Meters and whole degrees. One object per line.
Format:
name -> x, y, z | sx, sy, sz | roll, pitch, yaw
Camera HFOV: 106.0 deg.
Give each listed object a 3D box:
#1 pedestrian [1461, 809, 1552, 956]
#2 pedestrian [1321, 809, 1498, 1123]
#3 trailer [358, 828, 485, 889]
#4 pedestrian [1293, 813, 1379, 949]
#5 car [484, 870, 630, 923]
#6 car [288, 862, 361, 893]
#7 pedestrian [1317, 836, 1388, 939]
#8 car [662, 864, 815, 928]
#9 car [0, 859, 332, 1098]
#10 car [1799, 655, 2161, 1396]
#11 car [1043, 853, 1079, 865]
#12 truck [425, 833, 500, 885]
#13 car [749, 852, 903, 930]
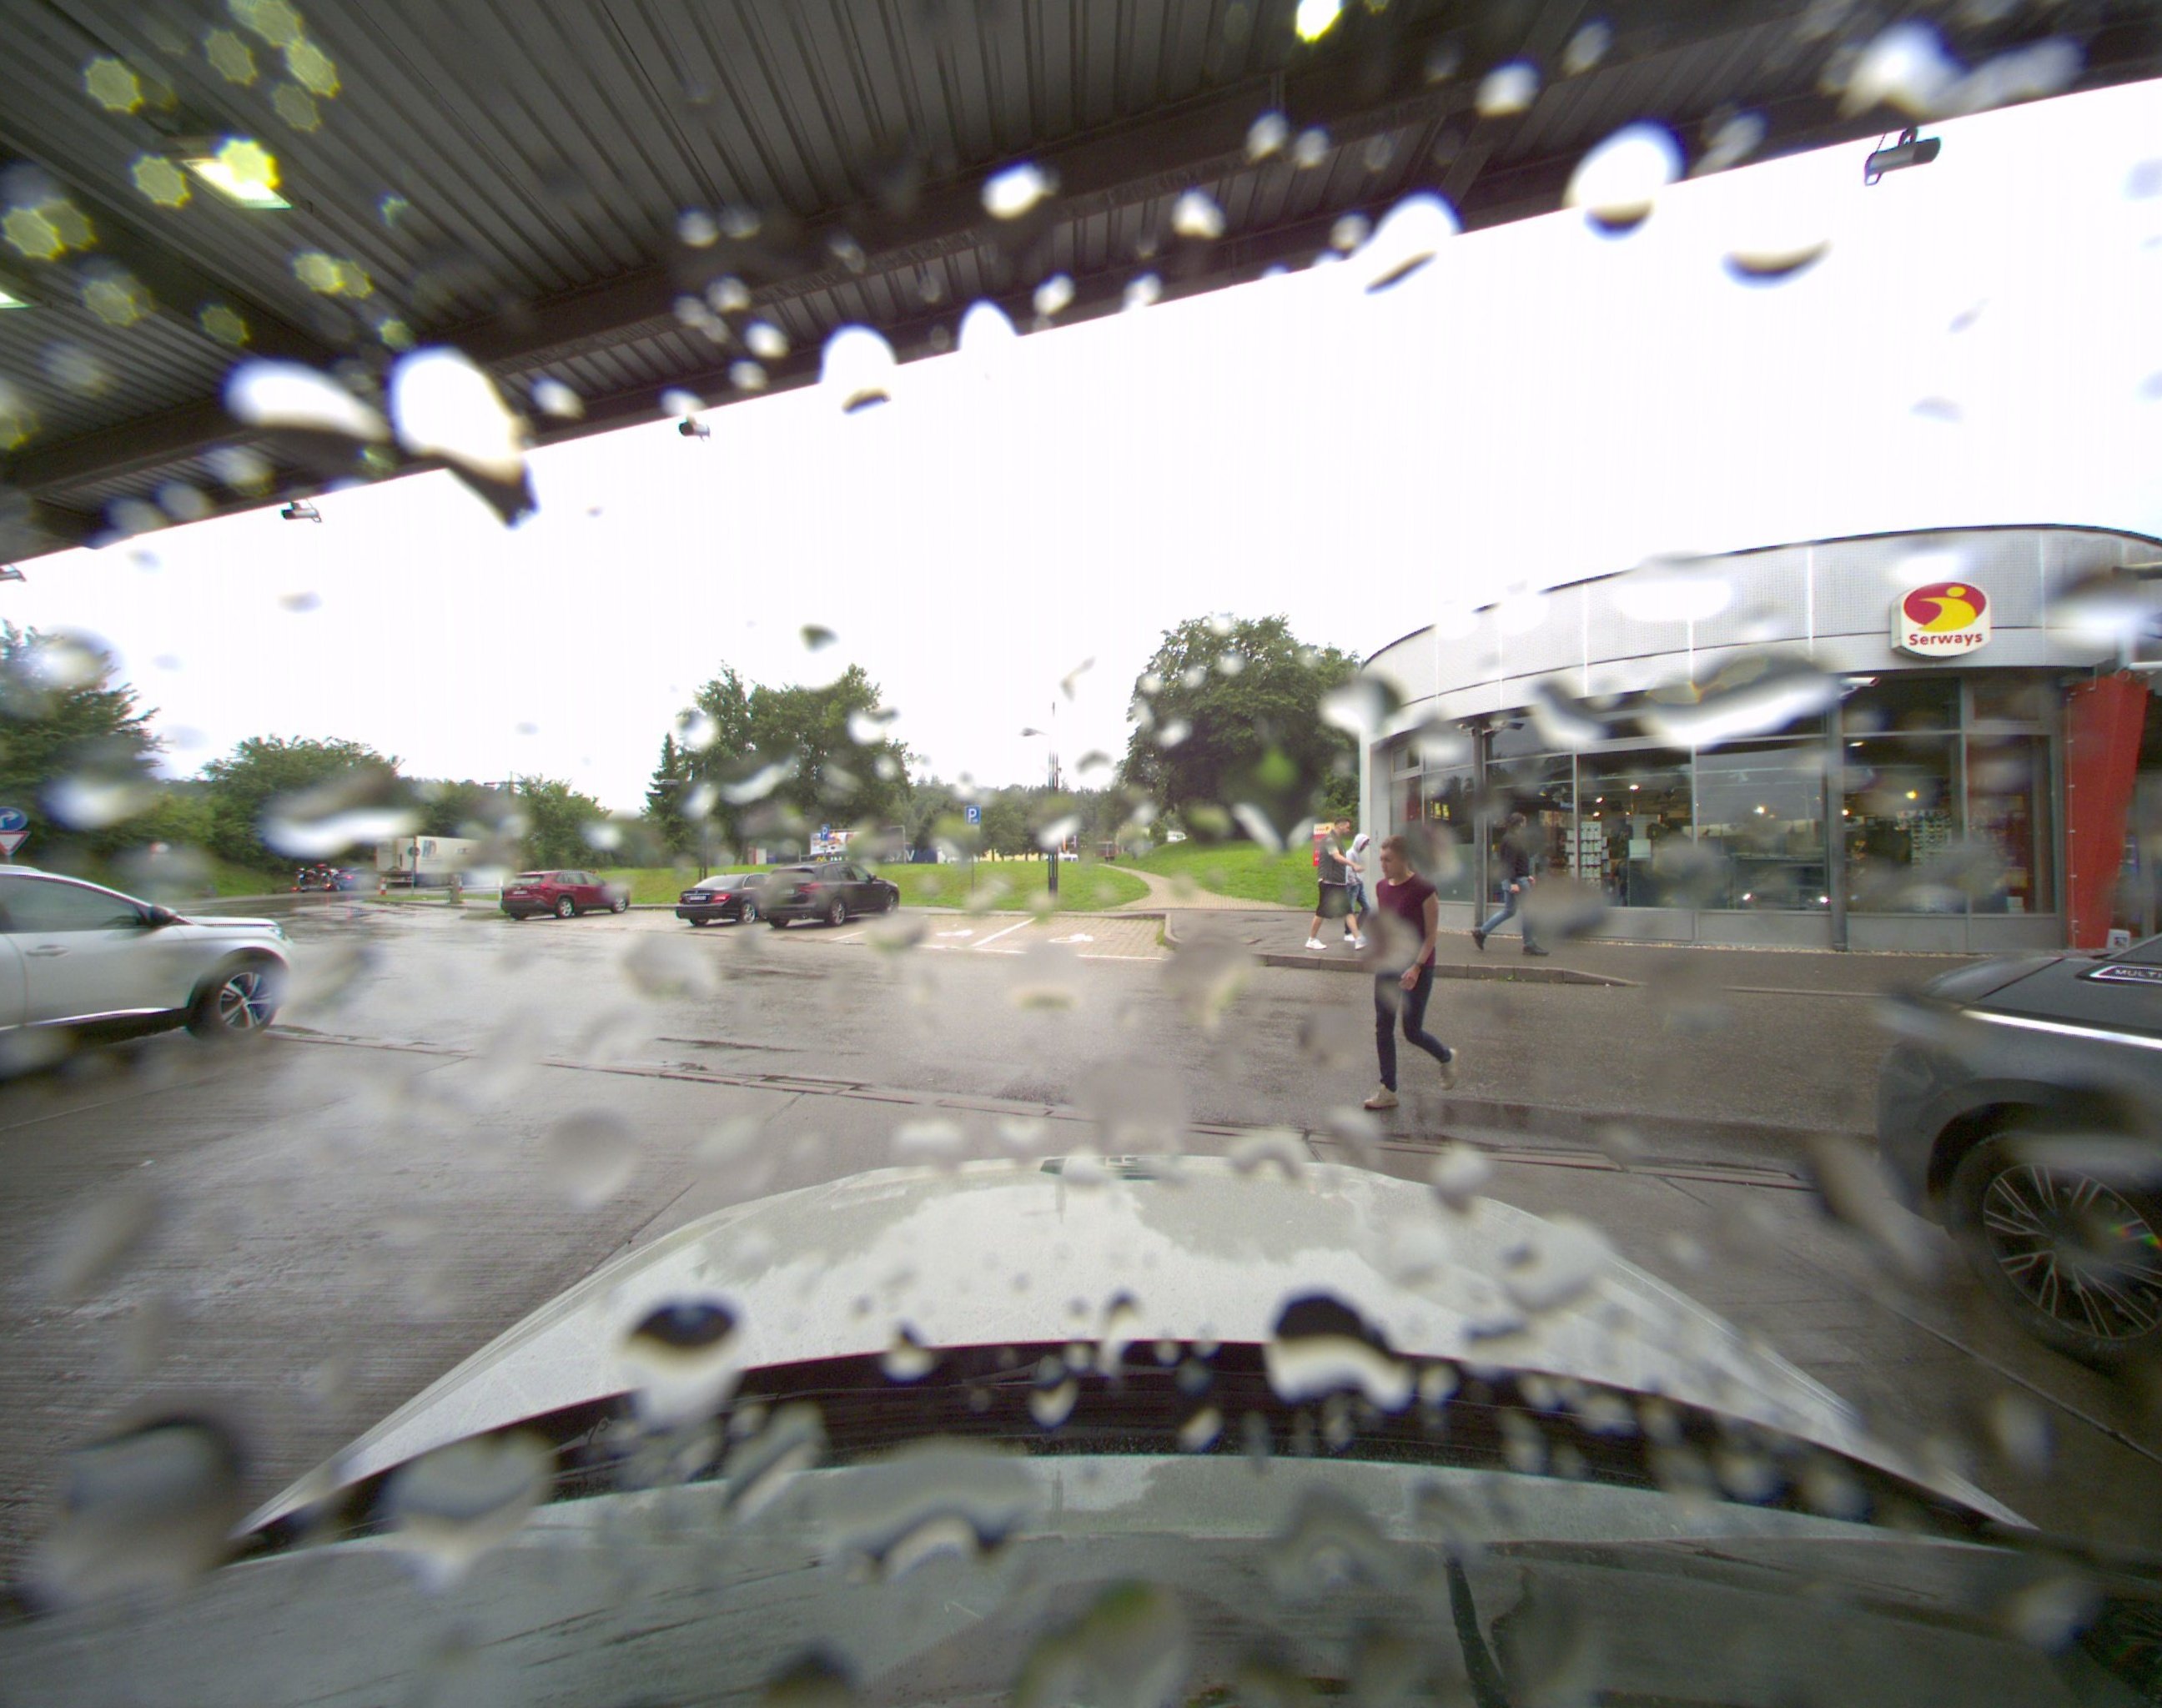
pedestrian -> 5.703, 0.362, 10.900 | 0.989, 1.864, 0.804 | -2, 0, 30
pedestrian -> 2.057, 0.623, 5.081 | 0.786, 1.734, 0.845 | -2, -1, 37
trailer -> -54.891, 0.417, 68.478 | 3.466, 4.557, 13.827 | 0, -1, -18
pedestrian -> 3.657, 0.369, 11.658 | 0.963, 1.848, 0.778 | -2, 0, 30
car -> -18.163, 1.413, 28.520 | 1.873, 1.596, 4.364 | -2, 0, 8
car -> -49.242, 1.492, 53.123 | 1.934, 1.838, 4.361 | -1, 0, -20
pedestrian -> 4.239, 0.506, 12.711 | 0.880, 1.550, 0.665 | -2, 0, 31
car -> -9.621, 1.135, 23.296 | 1.871, 1.565, 4.200 | -2, 0, 13
car -> -8.032, 0.834, 5.306 | 1.810, 1.565, 4.999 | 0, 0, -2
car -> 3.712, 0.445, 1.229 | 1.809, 1.948, 4.002 | -1, 0, 2
car -> -3.244, 0.801, 133.934 | 5.376, 2.013, 2.468 | -1, 0, 21
truck -> -57.114, 0.490, 75.418 | 3.467, 4.557, 6.694 | 0, -1, -18
car -> -6.620, 0.886, 21.739 | 1.871, 1.828, 4.429 | -2, 0, 13
